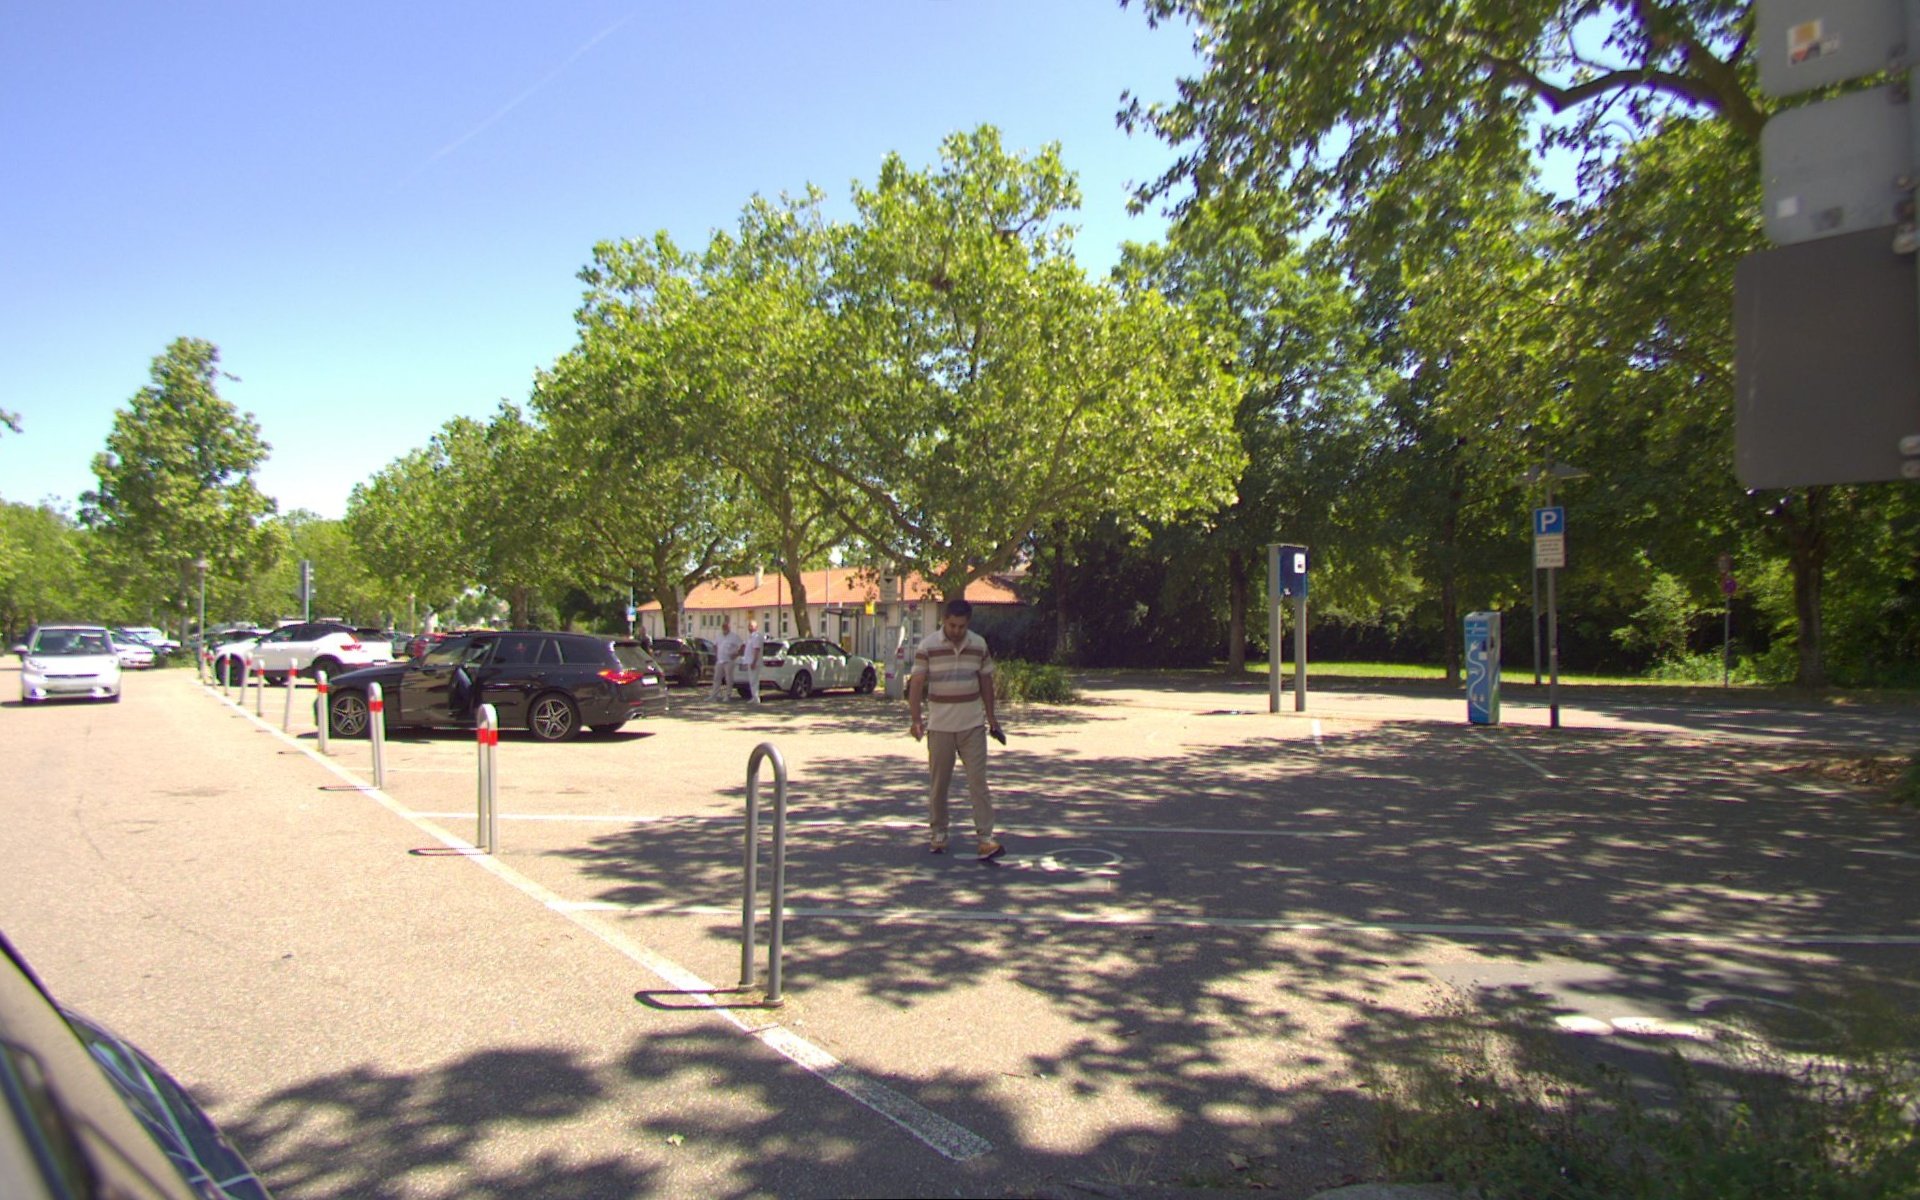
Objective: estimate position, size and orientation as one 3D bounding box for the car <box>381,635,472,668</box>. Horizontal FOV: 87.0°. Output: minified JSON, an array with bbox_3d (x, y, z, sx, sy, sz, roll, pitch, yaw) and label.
[{"bbox_3d":[-26.391,2.528,50.186,1.625,1.587,3.849,-1,-2,21],"label":"car"}]

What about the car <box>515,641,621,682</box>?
[{"bbox_3d":[-14.927,2.308,38.732,1.625,1.471,3.849,-1,-2,21],"label":"car"}]

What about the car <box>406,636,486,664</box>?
[{"bbox_3d":[-28.464,2.752,56.171,1.625,1.458,3.849,-1,-2,21],"label":"car"}]

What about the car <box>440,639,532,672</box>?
[{"bbox_3d":[-22.055,2.539,47.258,1.625,1.471,3.849,-1,-2,21],"label":"car"}]

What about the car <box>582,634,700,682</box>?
[{"bbox_3d":[-10.341,1.860,33.091,1.625,1.471,3.849,-1,-2,21],"label":"car"}]

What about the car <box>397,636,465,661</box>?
[{"bbox_3d":[-30.183,2.733,57.767,1.466,1.405,3.115,-2,-3,43],"label":"car"}]

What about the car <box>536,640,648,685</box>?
[{"bbox_3d":[-12.959,2.163,35.842,1.625,1.471,3.849,-1,-2,21],"label":"car"}]

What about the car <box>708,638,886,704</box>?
[{"bbox_3d":[-3.867,1.672,24.944,1.779,1.428,4.729,-1,-2,30],"label":"car"}]

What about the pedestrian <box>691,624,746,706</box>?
[{"bbox_3d":[-5.366,1.436,22.540,0.848,1.784,0.830,-1,-3,30],"label":"pedestrian"}]

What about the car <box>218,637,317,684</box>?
[{"bbox_3d":[-29.180,2.515,42.636,3.979,1.908,1.723,-1,-2,26],"label":"car"}]

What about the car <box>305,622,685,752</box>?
[{"bbox_3d":[-6.329,1.146,14.091,4.470,1.555,1.799,1,-1,3],"label":"car"}]

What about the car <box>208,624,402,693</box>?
[{"bbox_3d":[-17.157,1.501,26.611,4.011,1.617,1.798,1,-1,5],"label":"car"}]

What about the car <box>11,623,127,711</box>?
[{"bbox_3d":[-17.606,1.270,20.036,1.577,1.605,3.110,2,-3,-41],"label":"car"}]

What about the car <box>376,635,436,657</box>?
[{"bbox_3d":[-36.134,3.007,66.037,1.466,1.405,3.115,-2,-3,43],"label":"car"}]

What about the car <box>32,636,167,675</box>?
[{"bbox_3d":[-31.923,2.038,37.626,3.464,1.414,1.803,0,-2,0],"label":"car"}]

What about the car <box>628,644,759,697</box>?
[{"bbox_3d":[-7.837,2.044,30.162,1.864,1.416,4.000,-1,-2,20],"label":"car"}]

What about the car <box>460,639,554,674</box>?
[{"bbox_3d":[-20.350,2.507,45.648,1.625,1.471,3.849,-1,-2,21],"label":"car"}]

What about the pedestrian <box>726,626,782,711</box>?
[{"bbox_3d":[-4.474,1.467,22.015,0.848,1.784,0.830,-1,-3,29],"label":"pedestrian"}]

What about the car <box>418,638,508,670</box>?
[{"bbox_3d":[-23.860,2.566,48.732,1.625,1.471,3.849,-1,-2,21],"label":"car"}]

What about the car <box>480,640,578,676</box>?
[{"bbox_3d":[-18.388,2.453,43.354,1.625,1.471,3.849,-1,-2,21],"label":"car"}]

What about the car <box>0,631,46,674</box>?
[{"bbox_3d":[-37.472,2.064,40.367,1.435,1.682,3.110,2,-3,-42],"label":"car"}]

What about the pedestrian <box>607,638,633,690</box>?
[{"bbox_3d":[-9.612,1.804,28.623,0.679,1.435,0.803,1,-2,-18],"label":"pedestrian"}]

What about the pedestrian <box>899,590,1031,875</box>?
[{"bbox_3d":[0.042,0.815,6.560,0.804,1.730,0.773,0,-2,3],"label":"pedestrian"}]

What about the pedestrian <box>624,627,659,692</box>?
[{"bbox_3d":[-7.849,1.459,24.939,0.581,1.560,0.611,3,-4,-45],"label":"pedestrian"}]
